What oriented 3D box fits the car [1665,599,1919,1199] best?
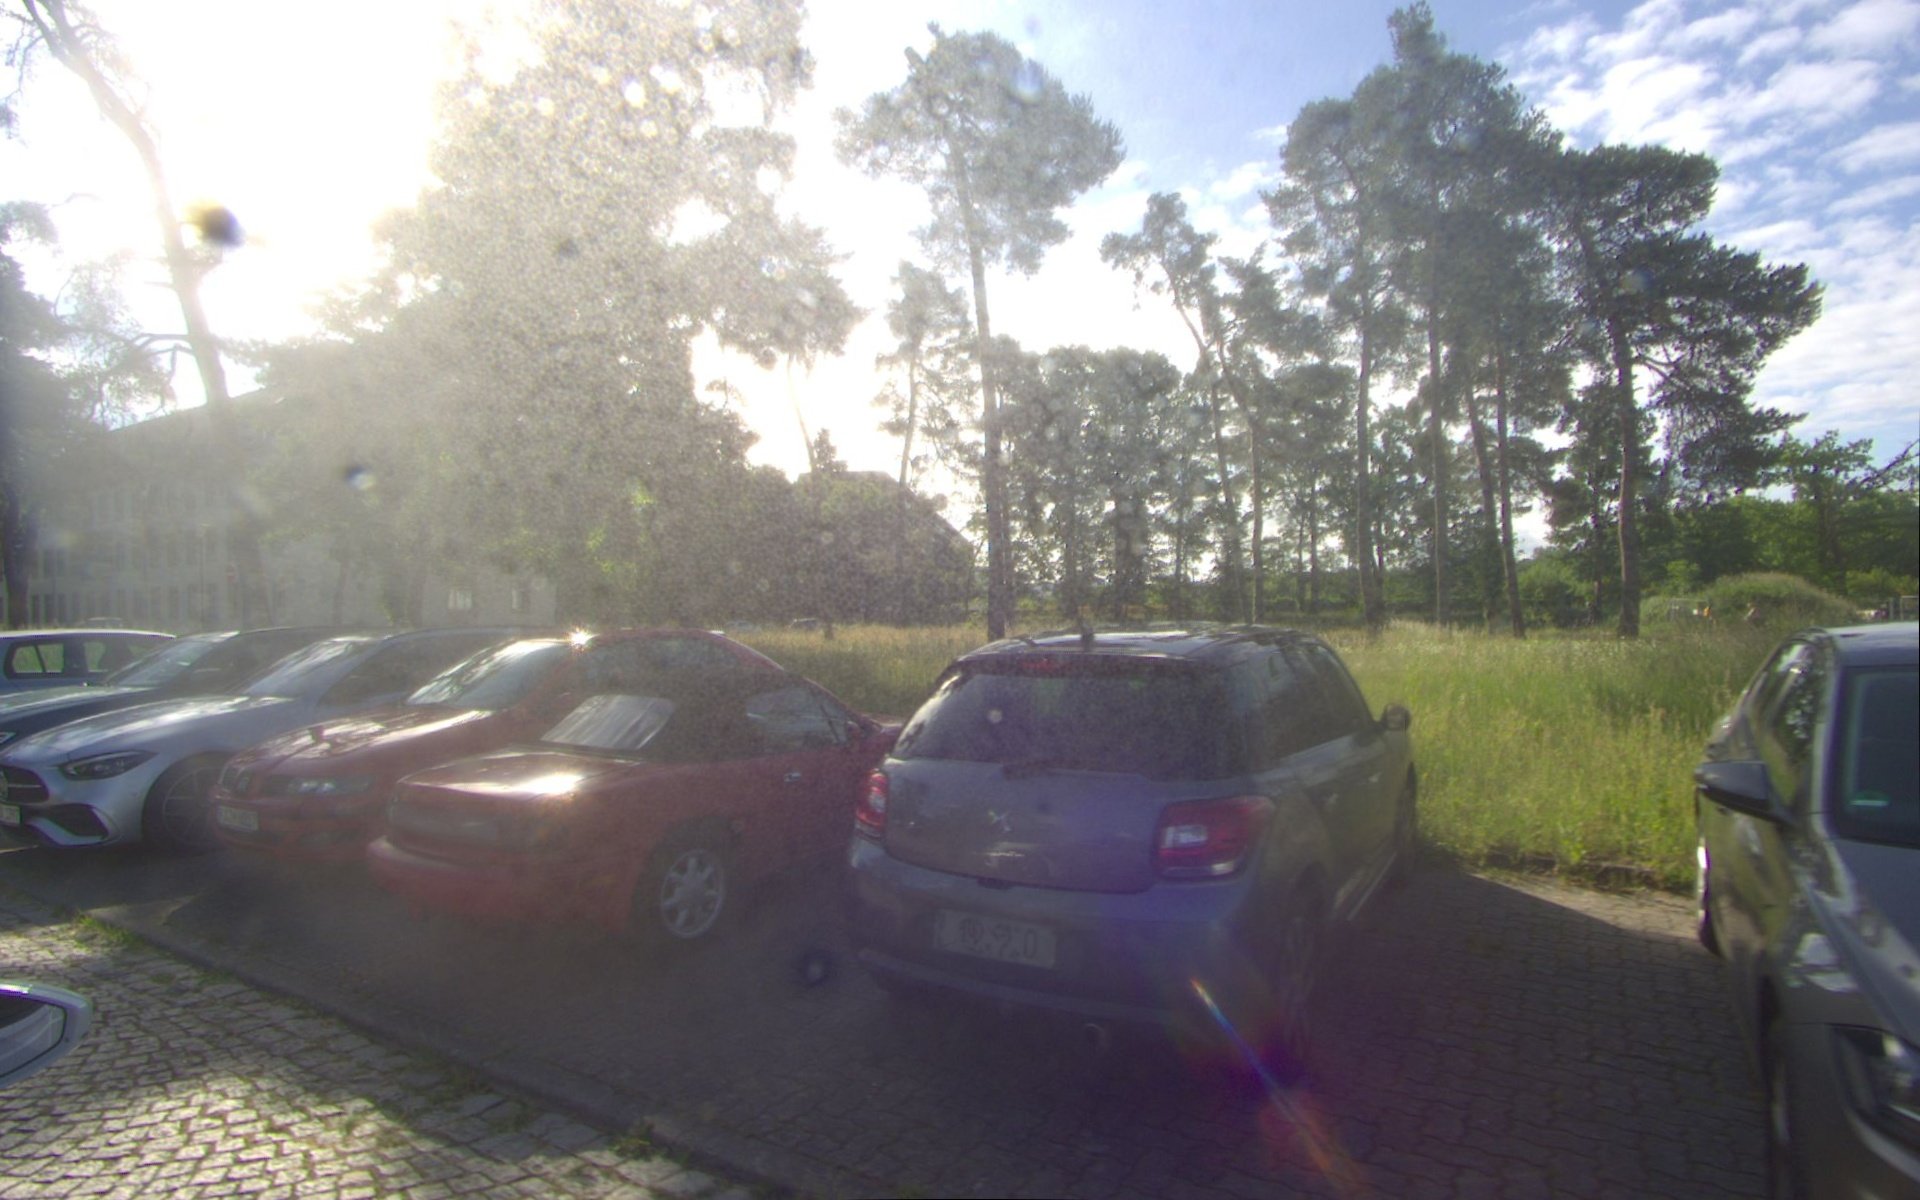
[{"bbox_3d":[3.088,0.756,2.757,1.733,1.470,3.771,-1,0,33],"label":"car"}]

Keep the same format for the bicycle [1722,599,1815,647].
[{"bbox_3d":[36.528,1.069,45.291,3.086,2.039,0.949,-3,-1,31],"label":"bicycle"}]

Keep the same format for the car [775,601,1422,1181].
[{"bbox_3d":[1.012,0.796,4.663,1.643,1.474,3.655,-1,1,32],"label":"car"}]

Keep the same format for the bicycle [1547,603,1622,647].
[{"bbox_3d":[31.007,1.261,49.779,3.086,2.039,0.949,-3,-1,31],"label":"bicycle"}]

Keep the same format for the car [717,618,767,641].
[{"bbox_3d":[-16.998,2.309,78.331,1.743,1.693,3.626,-1,-1,34],"label":"car"}]

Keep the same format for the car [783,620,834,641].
[{"bbox_3d":[-11.118,2.239,73.732,1.743,1.517,3.626,-1,-1,34],"label":"car"}]

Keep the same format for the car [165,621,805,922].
[{"bbox_3d":[-3.058,0.937,7.302,1.631,1.468,3.972,-1,0,31],"label":"car"}]

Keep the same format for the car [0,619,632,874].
[{"bbox_3d":[-5.076,0.926,8.327,1.763,1.407,4.391,-1,0,31],"label":"car"}]

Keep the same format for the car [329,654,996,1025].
[{"bbox_3d":[-1.317,0.993,5.608,1.515,1.258,3.454,-1,-1,32],"label":"car"}]

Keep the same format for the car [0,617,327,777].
[{"bbox_3d":[-9.458,0.986,11.190,1.641,1.462,3.665,-1,1,32],"label":"car"}]

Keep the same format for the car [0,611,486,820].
[{"bbox_3d":[-7.350,0.936,9.844,1.842,1.475,4.611,-1,1,29],"label":"car"}]
